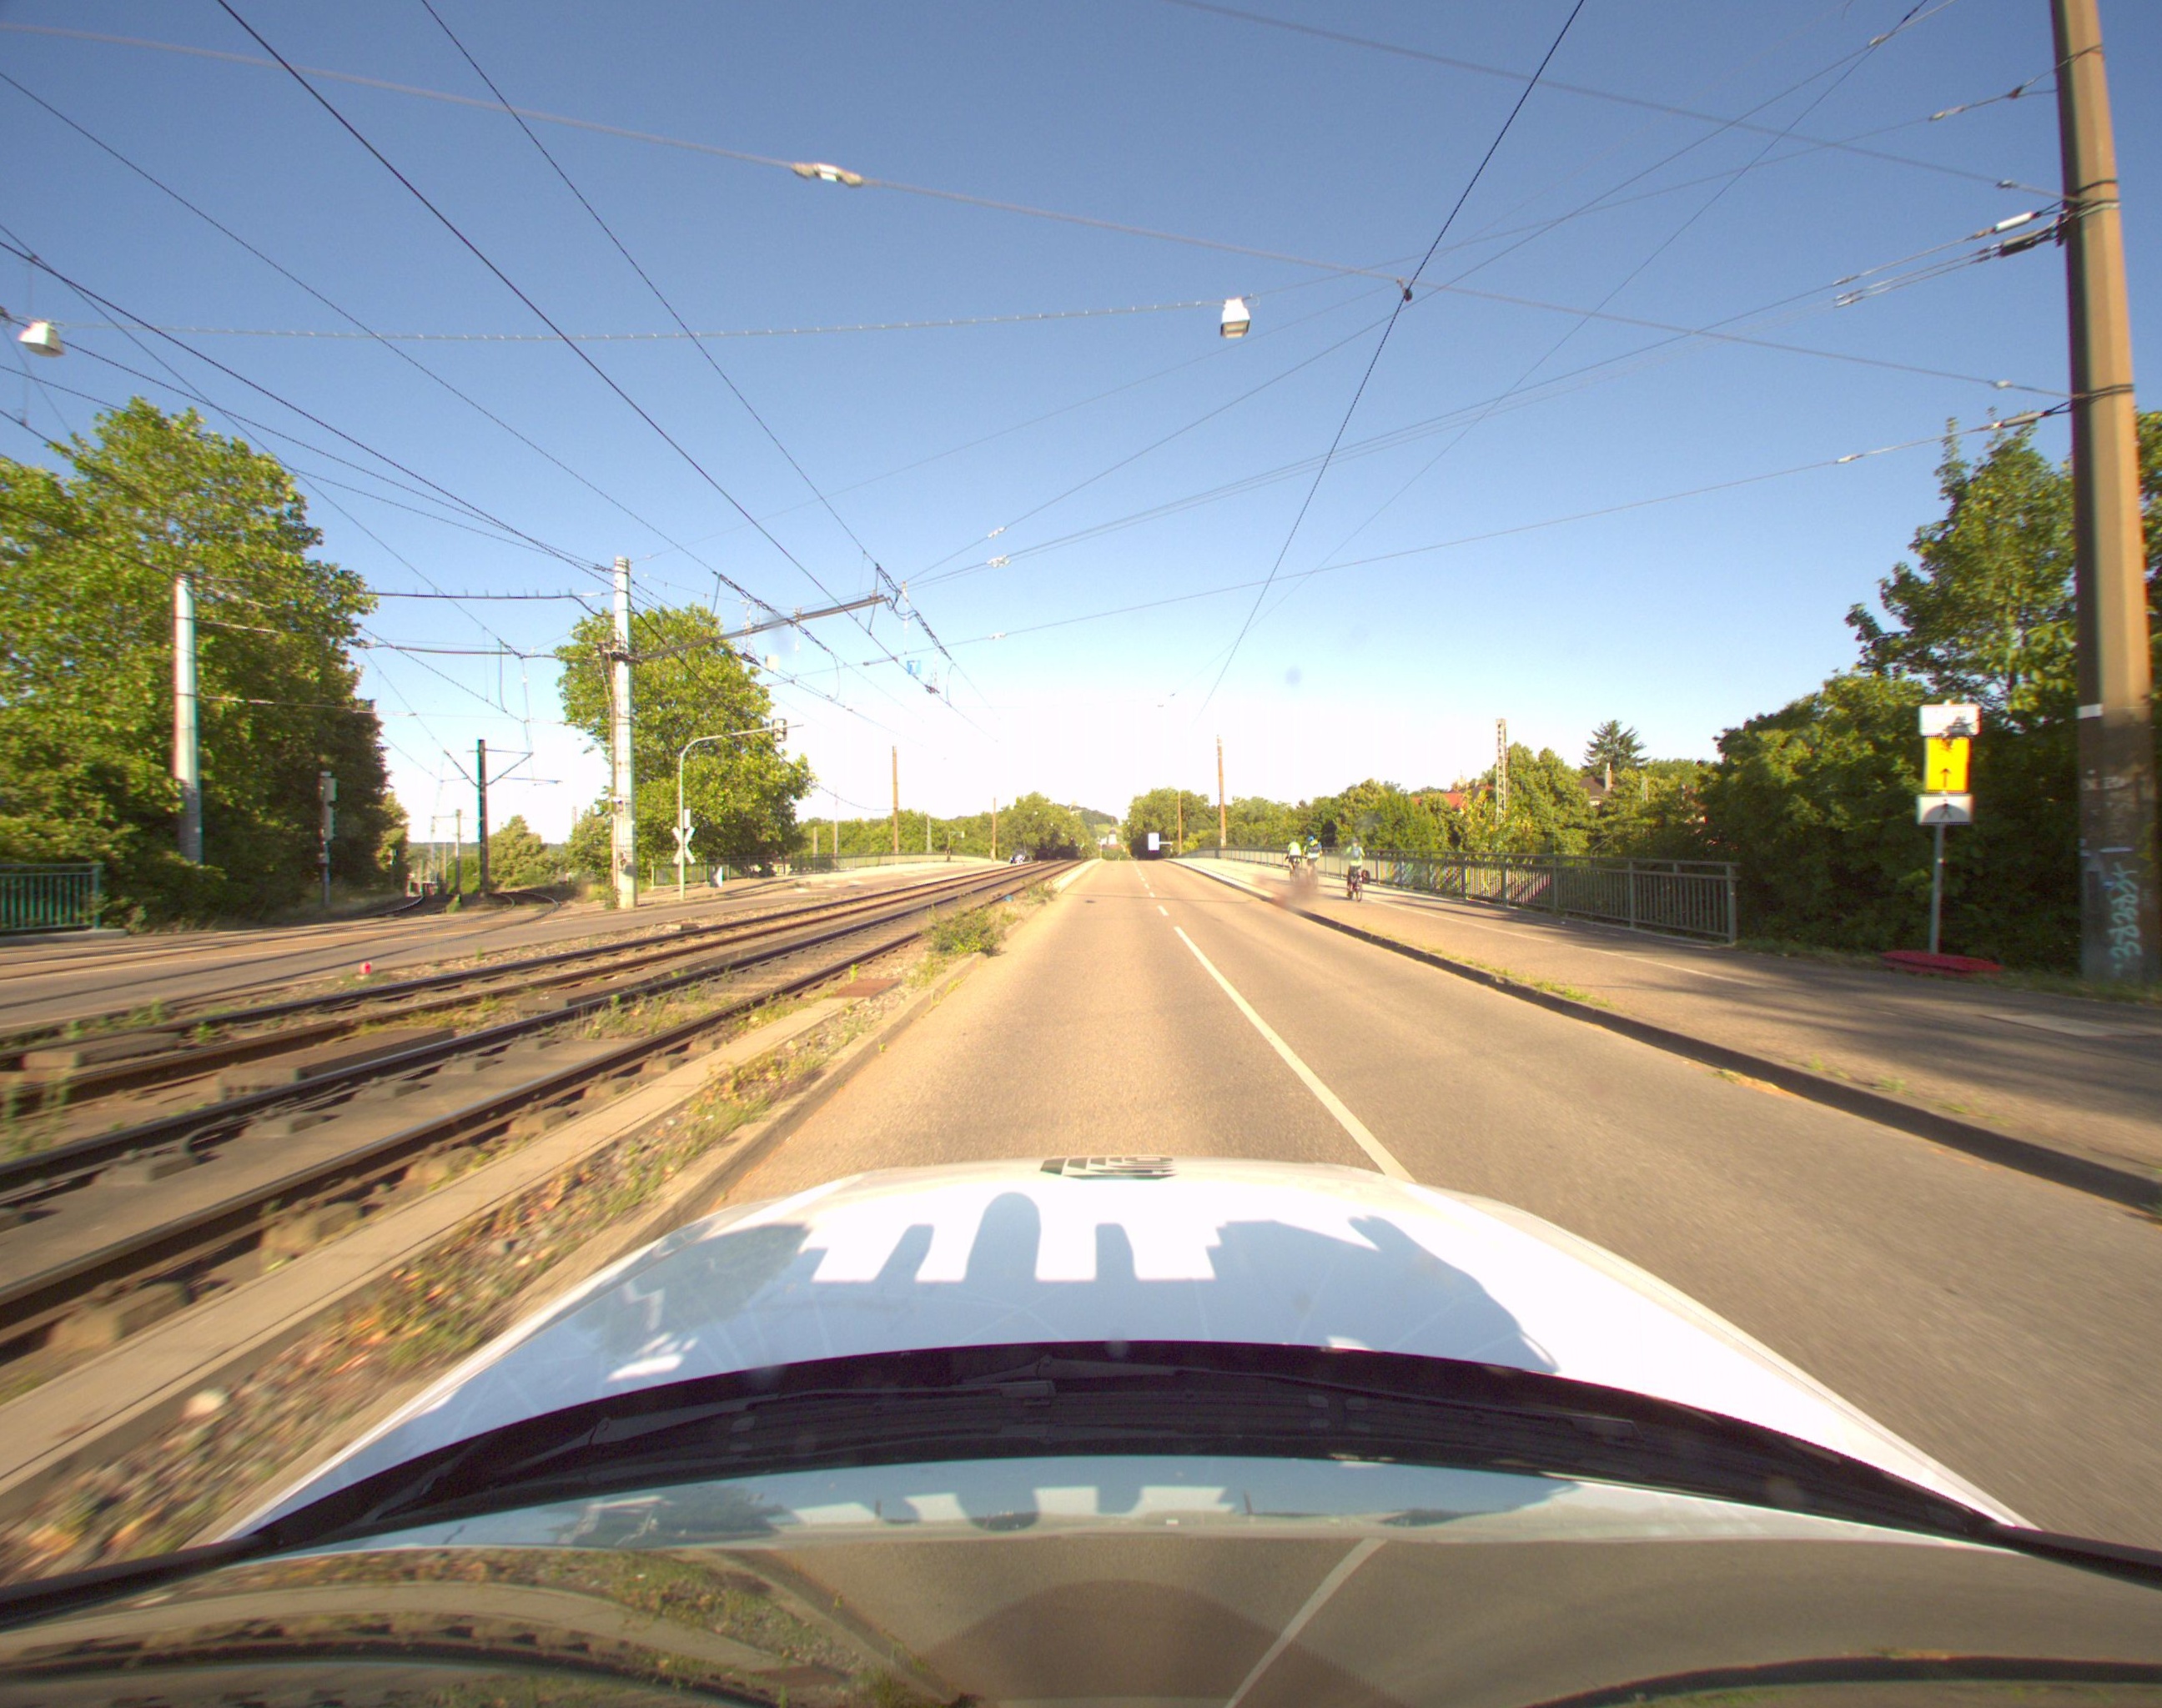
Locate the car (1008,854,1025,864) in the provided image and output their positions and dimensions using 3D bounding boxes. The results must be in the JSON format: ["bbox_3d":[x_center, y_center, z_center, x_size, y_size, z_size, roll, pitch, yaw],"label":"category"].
[{"bbox_3d":[-9.117,0.738,115.366,1.677,1.356,4.923,-1,0,3],"label":"car"}]

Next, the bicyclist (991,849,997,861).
[{"bbox_3d":[-12.099,0.196,112.815,0.622,1.633,0.936,-1,-1,4],"label":"bicyclist"}]

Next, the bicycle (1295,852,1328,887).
[{"bbox_3d":[7.654,0.506,27.128,0.622,1.122,2.043,-1,0,3],"label":"bicycle"}]

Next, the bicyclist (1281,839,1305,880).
[{"bbox_3d":[7.813,0.202,30.040,0.622,1.508,1.006,-1,0,2],"label":"bicyclist"}]

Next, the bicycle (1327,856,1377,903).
[{"bbox_3d":[7.169,0.643,21.667,0.681,1.122,2.218,-1,1,3],"label":"bicycle"}]

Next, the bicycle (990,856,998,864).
[{"bbox_3d":[-12.080,0.810,112.974,0.622,1.122,2.262,-1,0,4],"label":"bicycle"}]

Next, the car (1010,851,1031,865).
[{"bbox_3d":[-6.816,0.420,91.847,1.841,1.502,4.222,-1,0,3],"label":"car"}]

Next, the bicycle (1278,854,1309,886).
[{"bbox_3d":[7.809,0.563,29.999,0.622,1.122,2.261,-1,0,3],"label":"bicycle"}]

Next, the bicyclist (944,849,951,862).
[{"bbox_3d":[-13.994,0.149,85.503,0.623,1.432,0.968,-1,-1,-1],"label":"bicyclist"}]

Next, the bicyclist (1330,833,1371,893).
[{"bbox_3d":[7.155,0.228,21.645,0.809,1.562,0.897,-1,1,2],"label":"bicyclist"}]

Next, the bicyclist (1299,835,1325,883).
[{"bbox_3d":[7.685,0.167,27.070,0.622,1.592,0.931,-1,-1,2],"label":"bicyclist"}]

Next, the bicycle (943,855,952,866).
[{"bbox_3d":[-13.991,0.664,85.460,0.623,1.122,2.259,-1,0,-1],"label":"bicycle"}]
